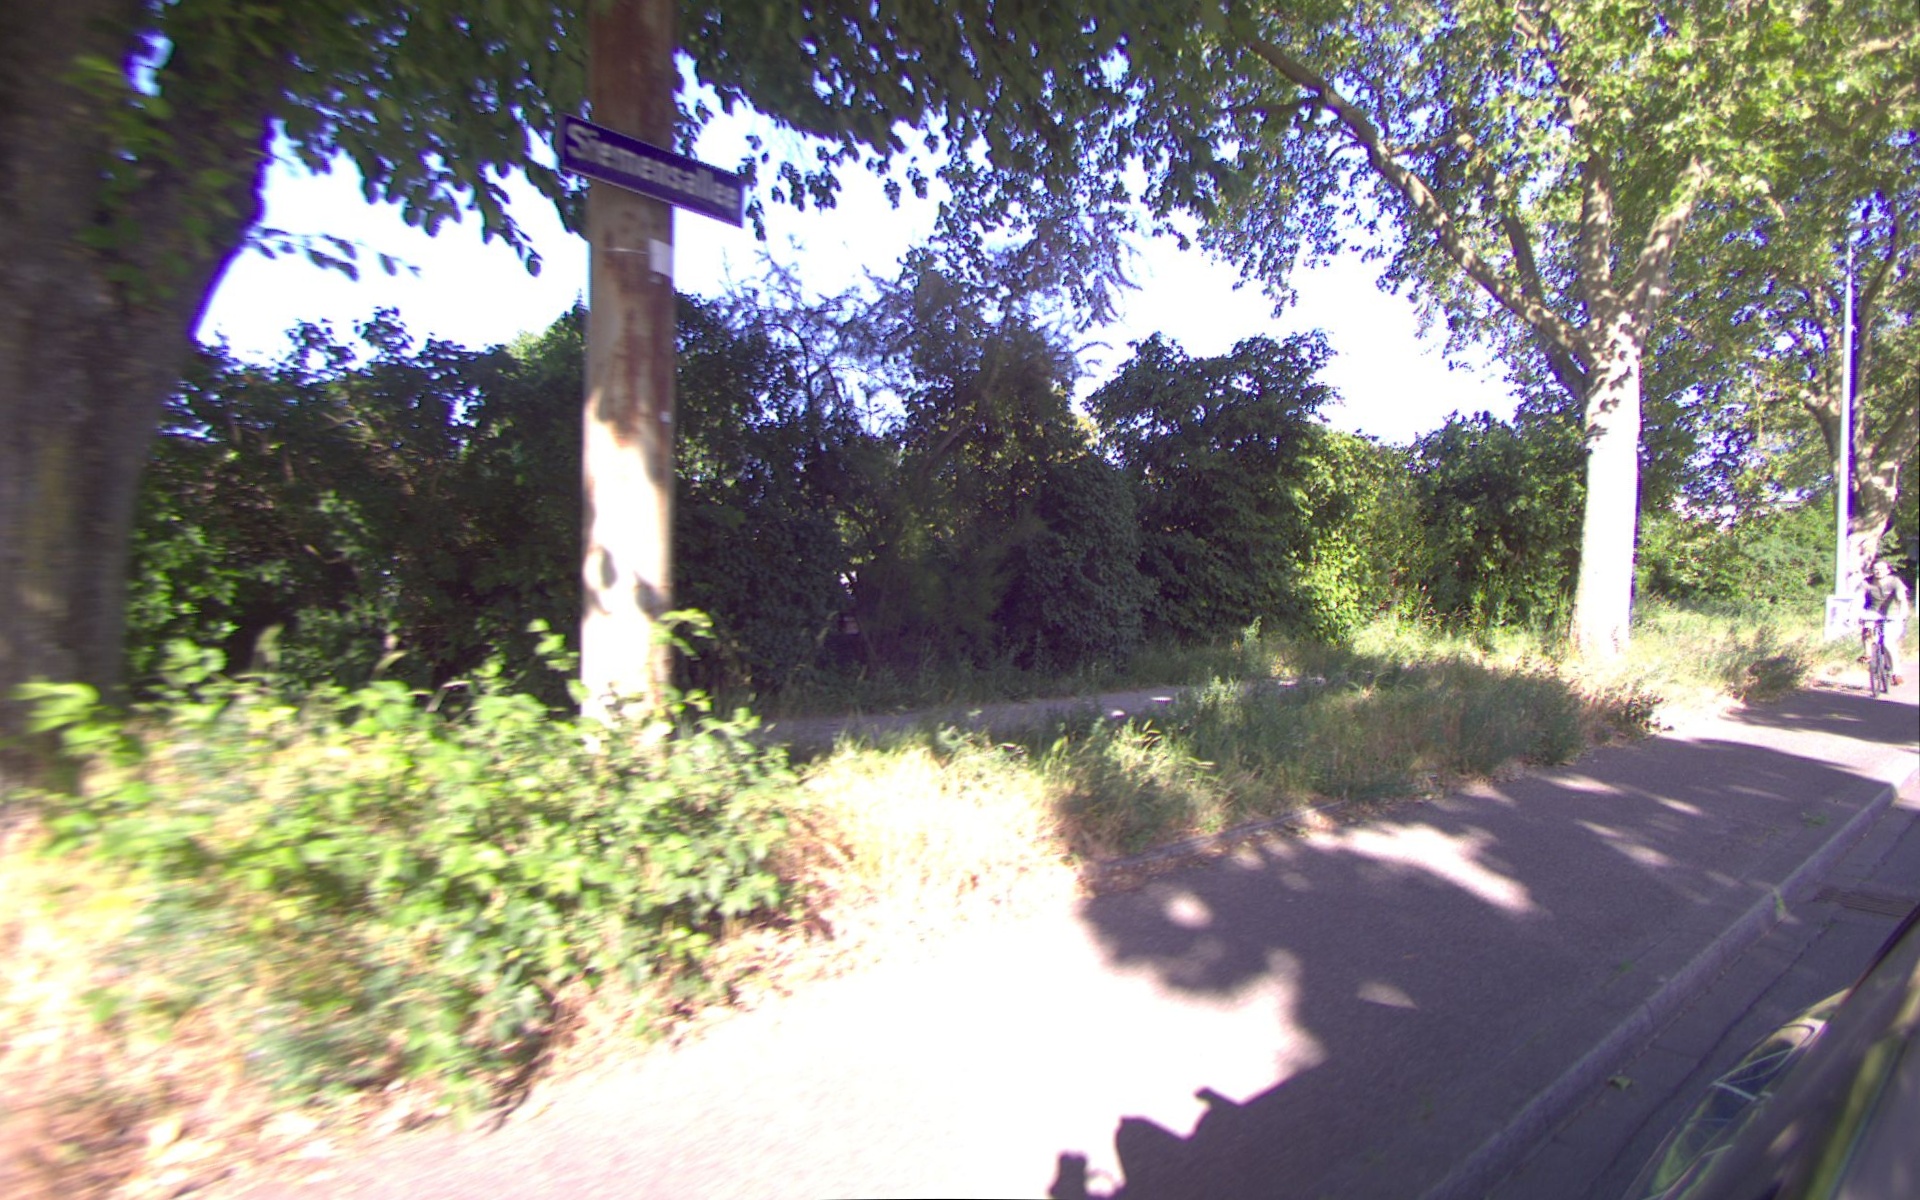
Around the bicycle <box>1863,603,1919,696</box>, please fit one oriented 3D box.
[{"bbox_3d":[12.814,0.644,13.851,1.791,1.167,0.441,-1,0,-41],"label":"bicycle"}]

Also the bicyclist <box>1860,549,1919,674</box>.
[{"bbox_3d":[12.828,0.143,13.857,0.893,1.649,0.614,0,1,-41],"label":"bicyclist"}]
